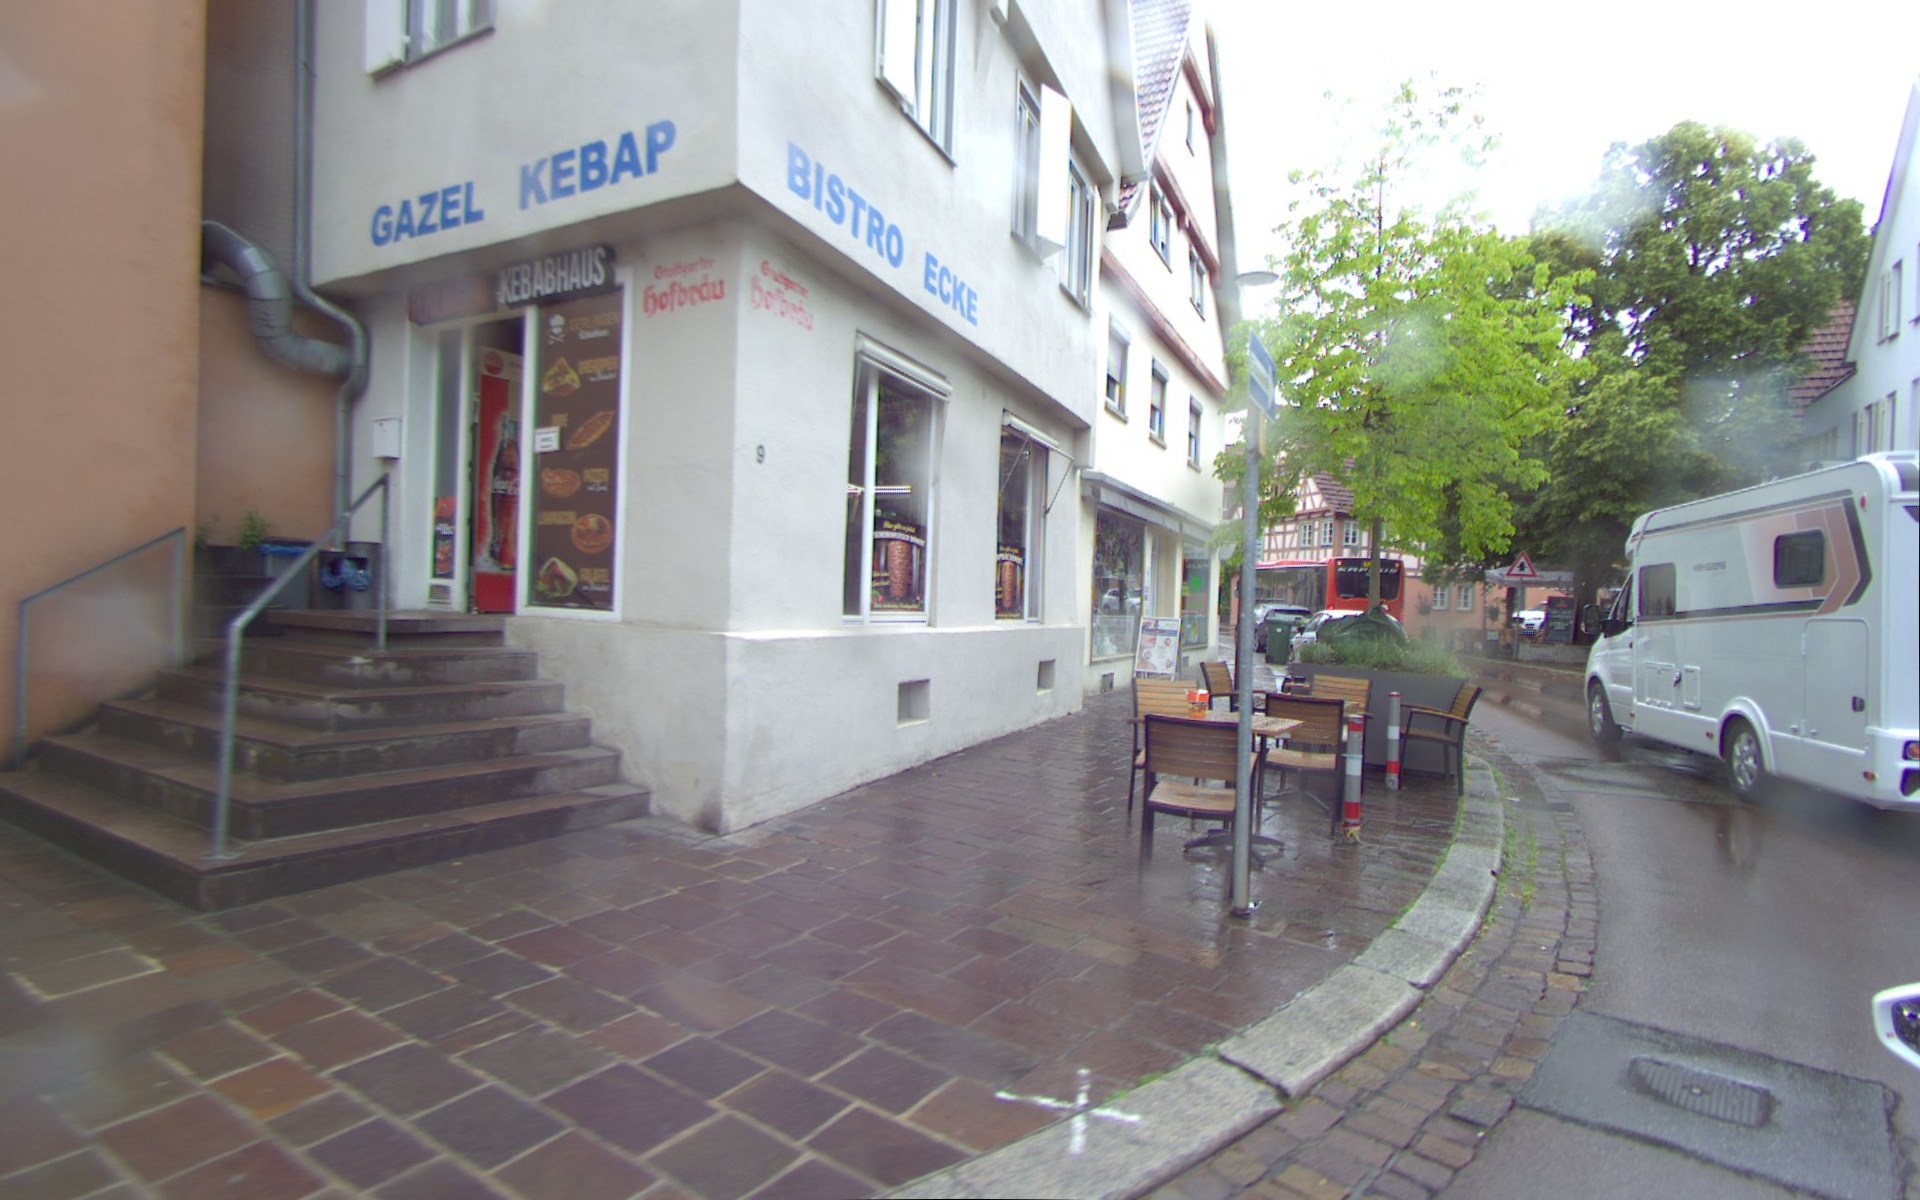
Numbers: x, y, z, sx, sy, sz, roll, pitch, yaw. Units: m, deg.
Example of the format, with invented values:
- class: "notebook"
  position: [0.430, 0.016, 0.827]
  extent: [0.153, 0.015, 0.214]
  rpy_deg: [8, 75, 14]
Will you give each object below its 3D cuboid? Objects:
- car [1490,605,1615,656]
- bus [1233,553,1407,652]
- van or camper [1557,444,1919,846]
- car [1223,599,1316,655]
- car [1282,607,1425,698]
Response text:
- class: "car"
  position: [19.642, 0.985, 33.427]
  extent: [3.474, 1.498, 1.579]
  rpy_deg: [2, 0, 30]
- class: "bus"
  position: [12.915, 0.077, 37.327]
  extent: [2.766, 3.130, 10.608]
  rpy_deg: [0, 0, 0]
- class: "van or camper"
  position: [8.064, 0.348, 9.537]
  extent: [2.396, 2.620, 6.753]
  rpy_deg: [2, 0, 16]
- class: "car"
  position: [9.169, 0.756, 30.051]
  extent: [1.692, 1.433, 3.982]
  rpy_deg: [2, 1, 3]
- class: "car"
  position: [7.560, 0.928, 19.683]
  extent: [1.692, 1.433, 3.983]
  rpy_deg: [4, 1, 8]
